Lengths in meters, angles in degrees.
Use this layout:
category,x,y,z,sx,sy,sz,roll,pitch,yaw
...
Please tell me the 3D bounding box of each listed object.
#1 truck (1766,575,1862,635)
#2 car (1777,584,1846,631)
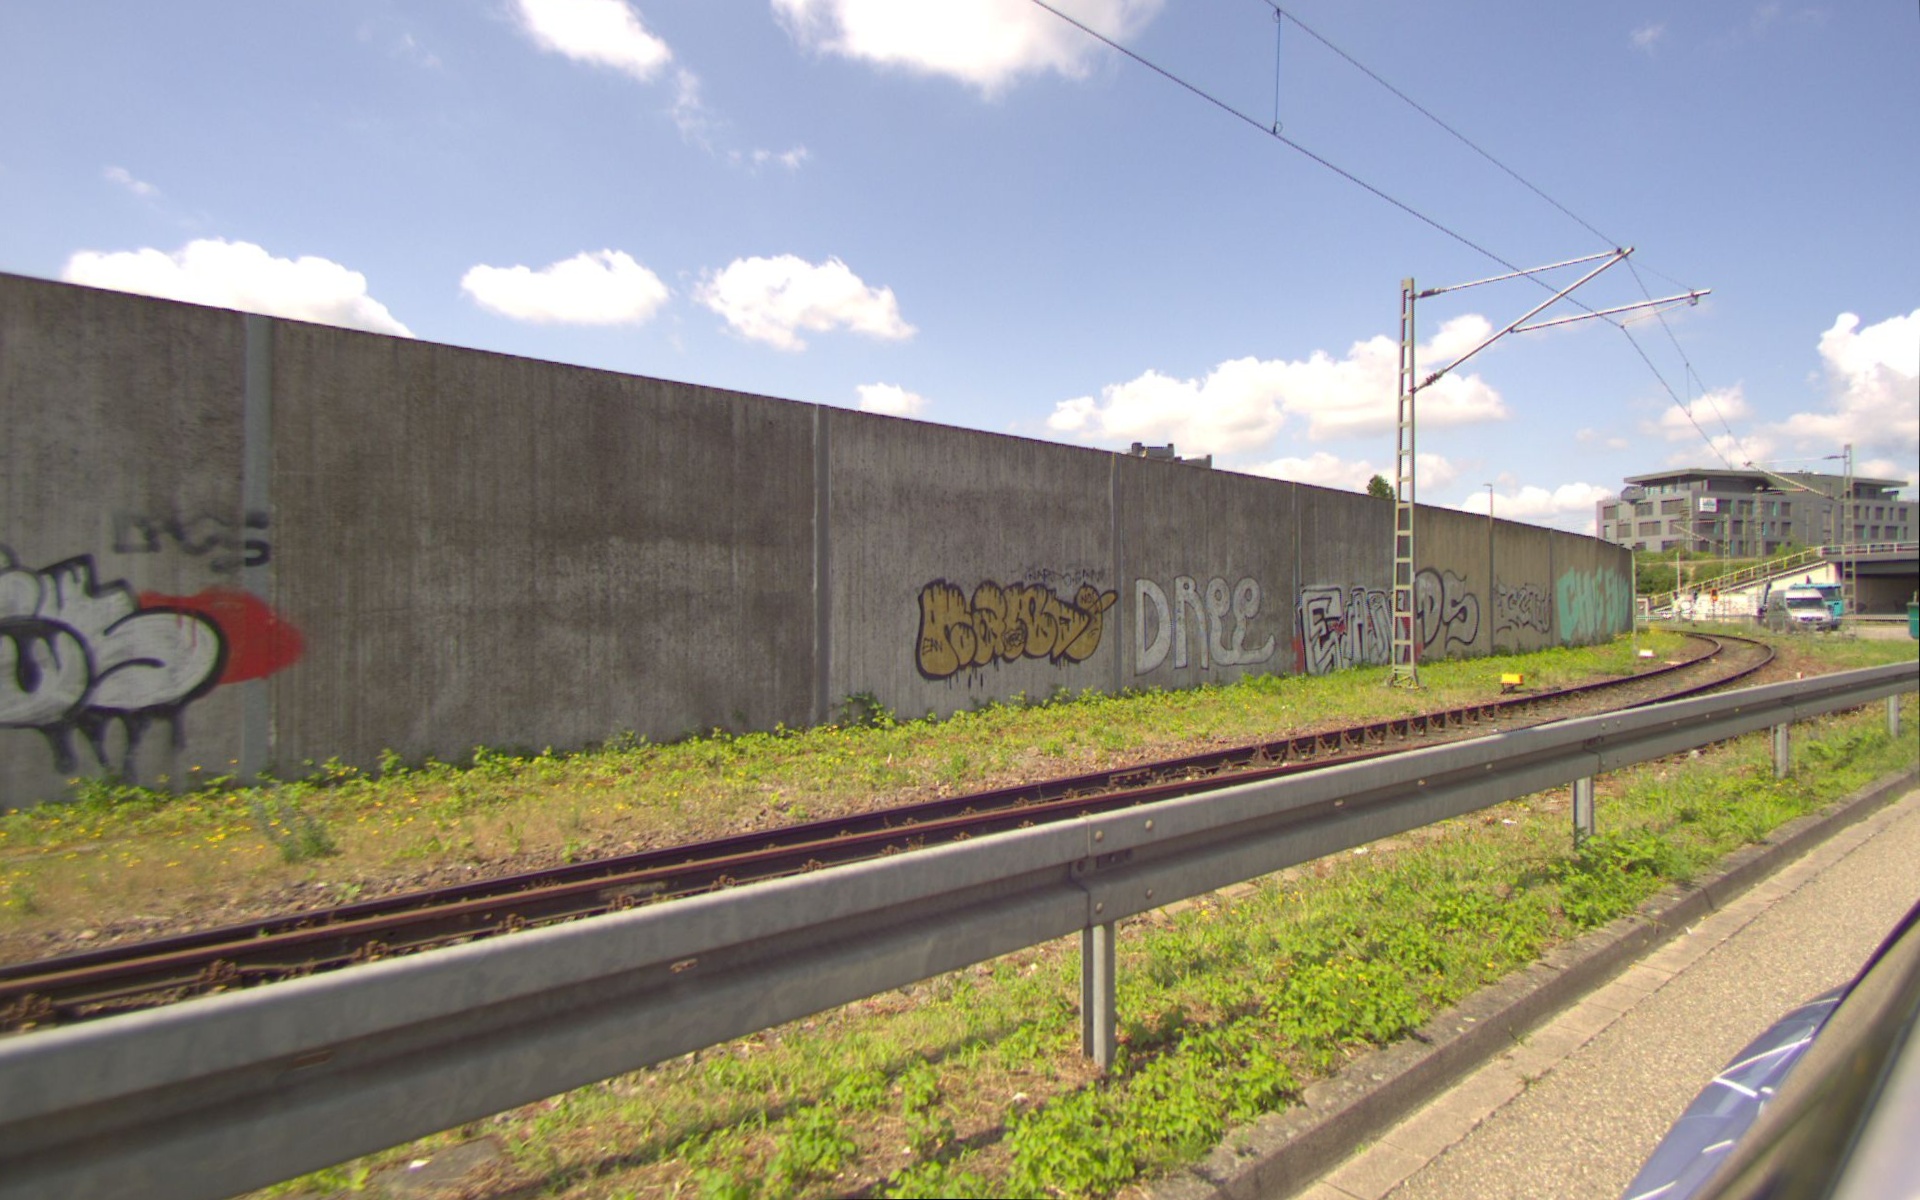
category,x,y,z,sx,sy,sz,roll,pitch,yaw
truck,56.189,0.279,66.788,2.623,3.692,6.840,-2,0,21
car,48.860,0.389,58.187,2.050,2.559,5.817,-2,-1,31
